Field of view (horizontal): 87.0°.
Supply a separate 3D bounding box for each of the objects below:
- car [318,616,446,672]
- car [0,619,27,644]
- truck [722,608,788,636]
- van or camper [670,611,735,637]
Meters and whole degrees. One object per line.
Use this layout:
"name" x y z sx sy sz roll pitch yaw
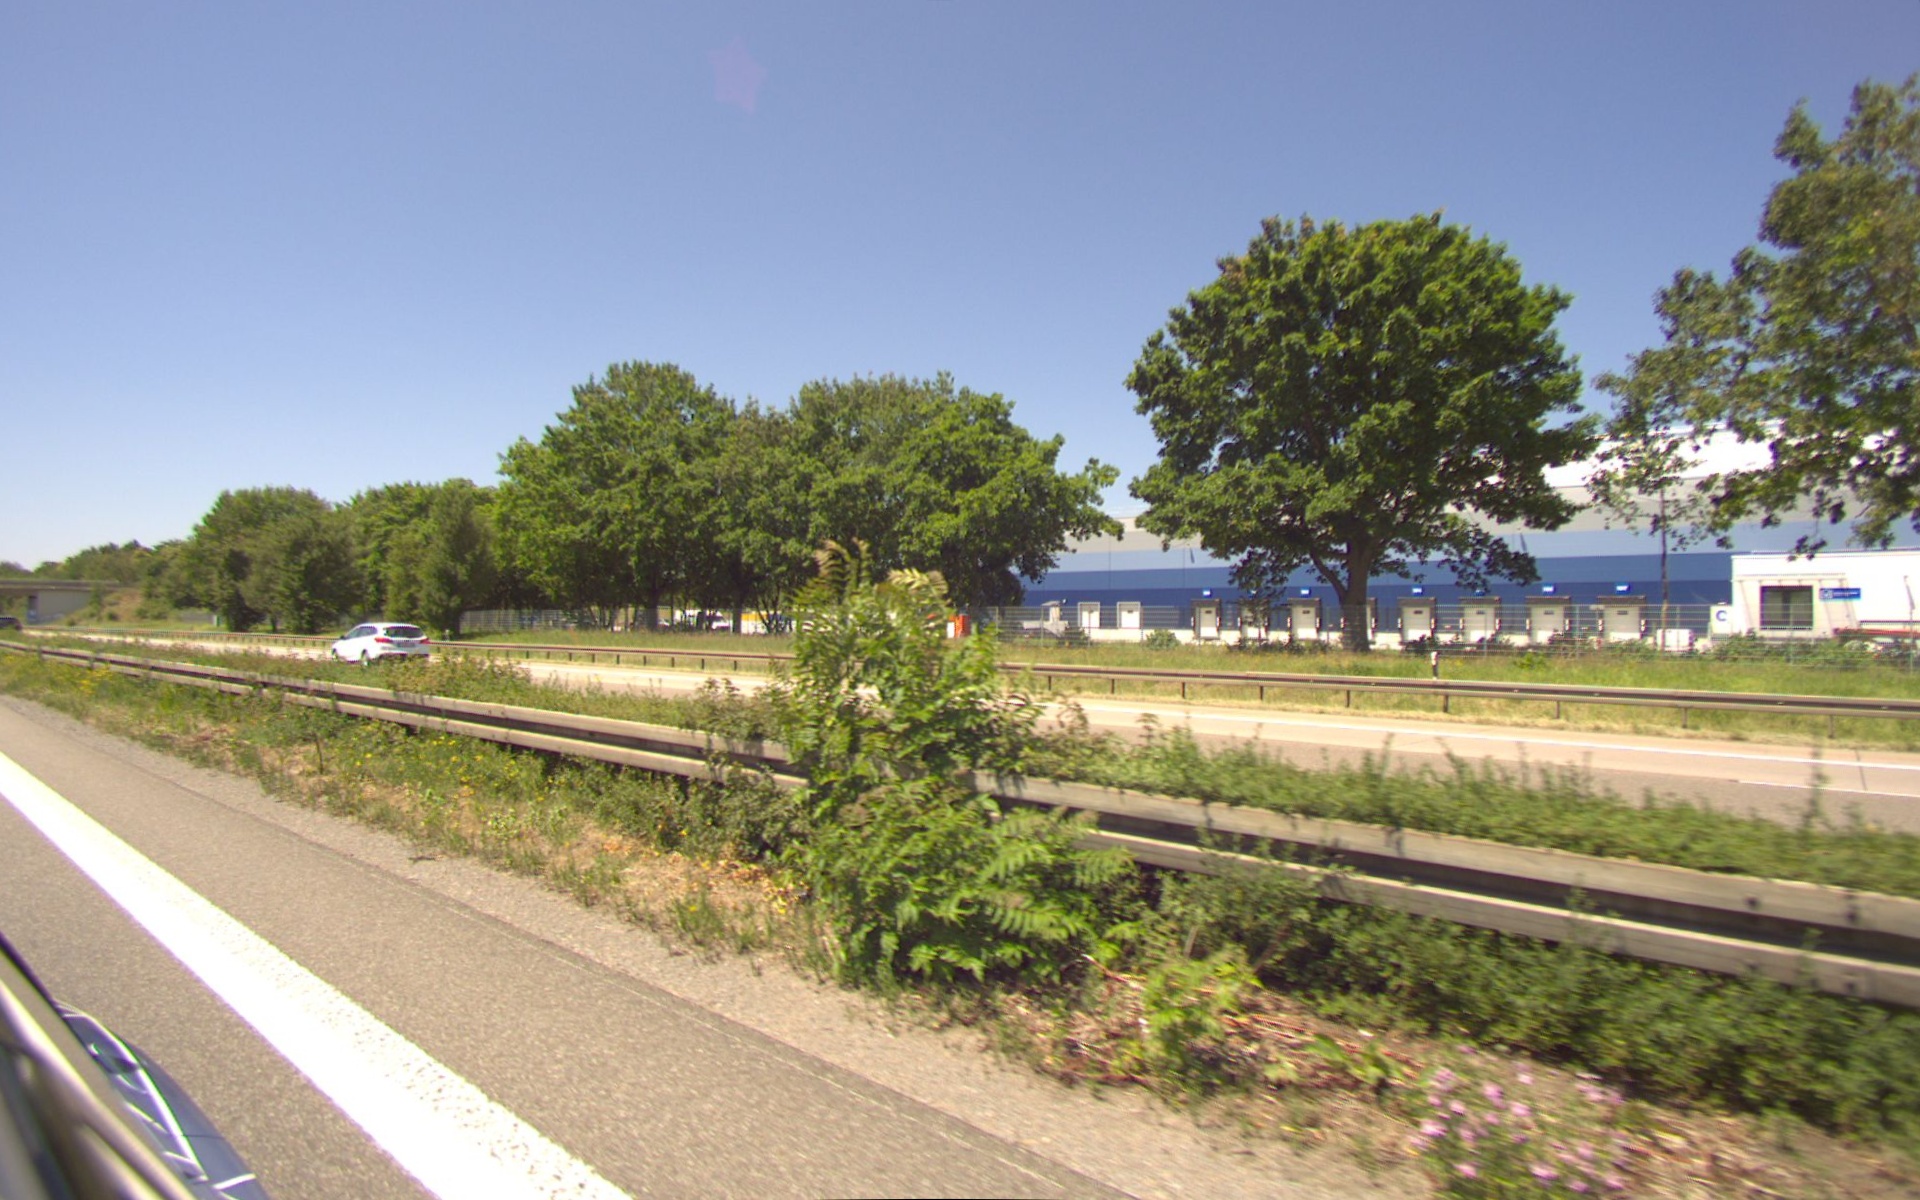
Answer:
"car" -18.698 1.395 32.657 4.855 1.652 1.973 -1 -5 40
"car" -65.891 2.138 69.573 4.856 1.652 1.973 -1 -5 41
"truck" -24.896 2.688 122.901 8.292 3.216 3.512 -1 -3 41
"van or camper" -26.752 2.512 104.923 7.718 2.571 2.333 -1 -2 39
